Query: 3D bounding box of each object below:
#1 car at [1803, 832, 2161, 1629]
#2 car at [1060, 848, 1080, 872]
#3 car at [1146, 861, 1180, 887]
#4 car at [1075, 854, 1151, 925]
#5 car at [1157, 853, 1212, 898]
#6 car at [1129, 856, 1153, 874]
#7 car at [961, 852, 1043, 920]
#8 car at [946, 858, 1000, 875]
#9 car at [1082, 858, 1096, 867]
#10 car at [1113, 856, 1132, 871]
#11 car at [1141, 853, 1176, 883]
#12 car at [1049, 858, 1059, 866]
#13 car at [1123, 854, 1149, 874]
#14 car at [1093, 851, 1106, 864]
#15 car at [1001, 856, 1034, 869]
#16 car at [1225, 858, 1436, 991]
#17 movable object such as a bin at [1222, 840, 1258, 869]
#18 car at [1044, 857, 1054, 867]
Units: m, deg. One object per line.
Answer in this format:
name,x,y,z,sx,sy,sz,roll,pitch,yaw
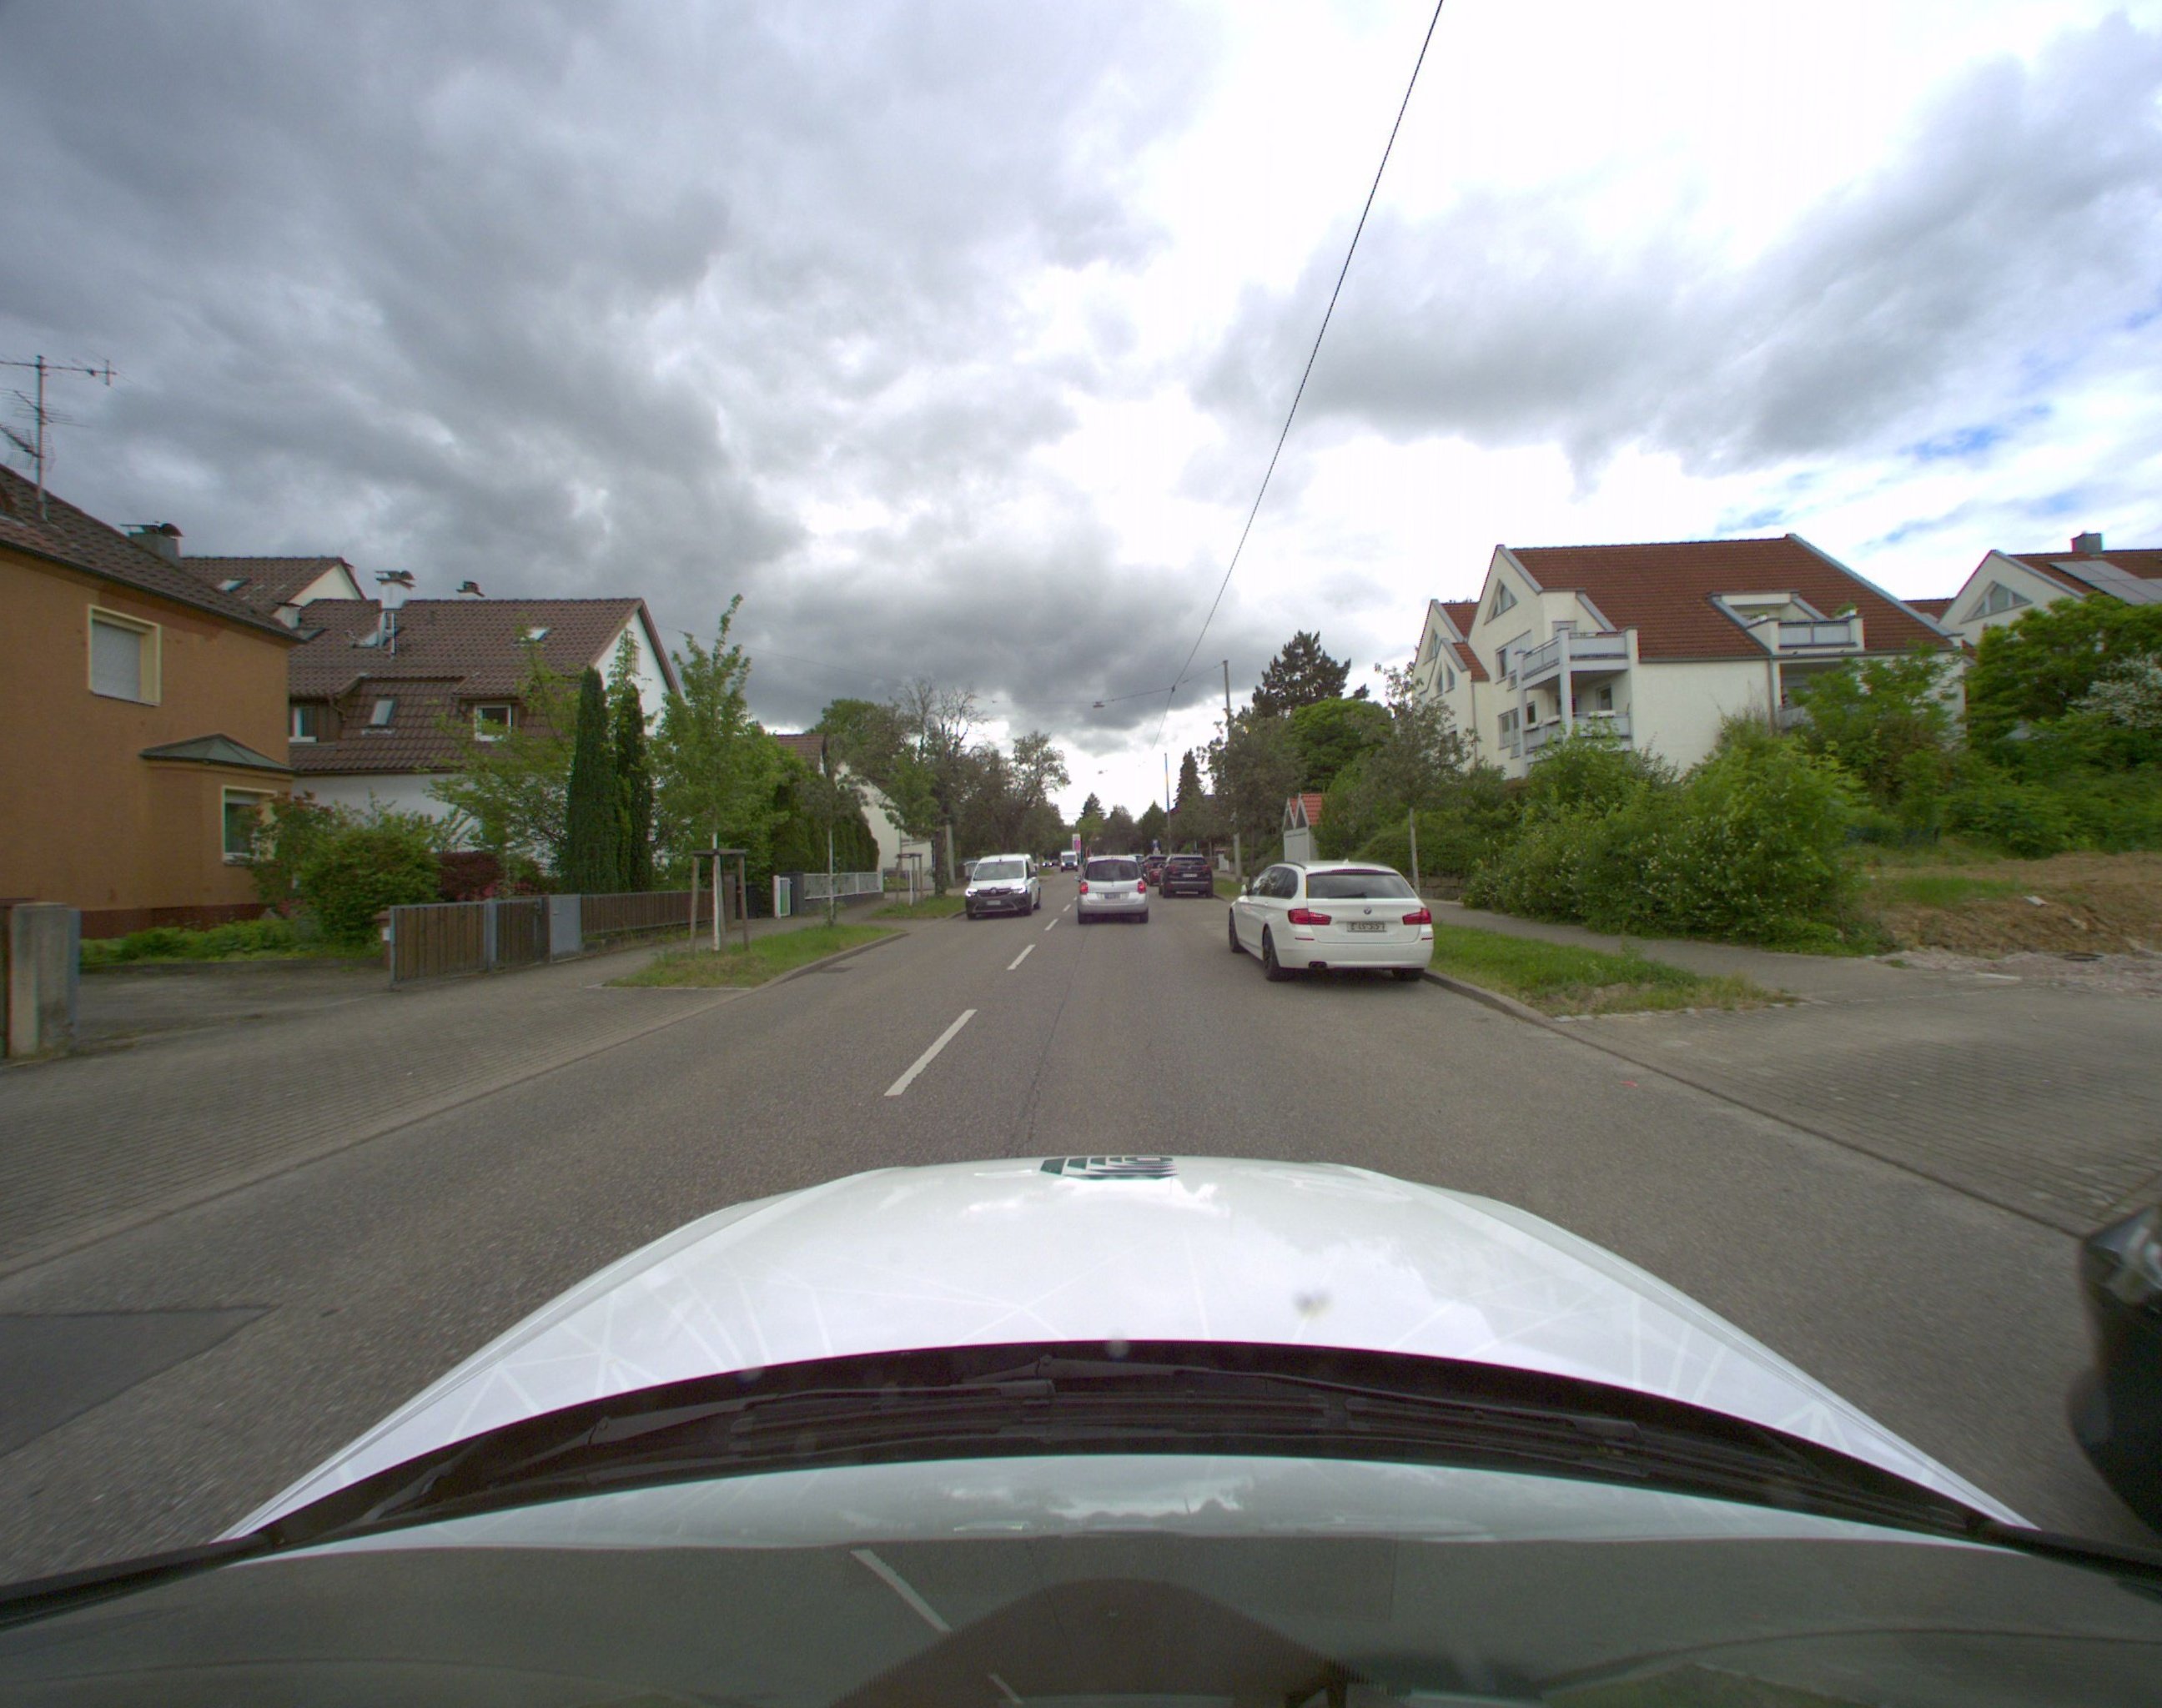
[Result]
car,2.872,0.703,0.198,1.660,1.516,4.220,-1,0,0
car,-1.313,0.697,97.641,2.066,2.582,5.300,-4,0,1
car,4.255,1.024,42.670,1.476,1.236,3.885,0,0,1
car,0.801,0.801,20.111,1.672,1.560,3.514,-1,0,3
car,3.902,0.787,31.239,1.681,1.609,4.111,0,0,2
car,5.019,0.942,68.306,1.554,1.443,3.503,0,0,-3
car,-2.246,0.881,24.199,1.788,1.752,4.301,-3,0,2
car,-8.842,1.035,66.819,4.272,1.368,1.813,0,-1,-6
car,1.280,1.400,134.611,1.693,1.506,3.963,-1,0,-7
car,4.540,1.016,88.876,1.623,1.452,3.871,-3,0,-3
car,4.677,0.806,49.647,1.823,1.712,4.551,-1,0,2
car,-5.759,1.674,173.142,1.831,1.714,3.996,-3,0,-3
car,4.877,0.897,73.068,1.794,1.778,4.701,0,0,-2
car,4.090,0.803,180.524,2.277,2.911,5.271,0,-1,-4
car,-8.120,1.081,104.489,4.076,1.706,1.746,0,0,-3
car,3.143,0.787,11.193,1.687,1.453,4.406,0,0,2
movable object such as a bin,11.387,0.039,58.335,2.306,2.014,1.341,0,-1,-4
car,-6.086,1.477,153.884,1.831,1.714,3.996,-3,0,-3
